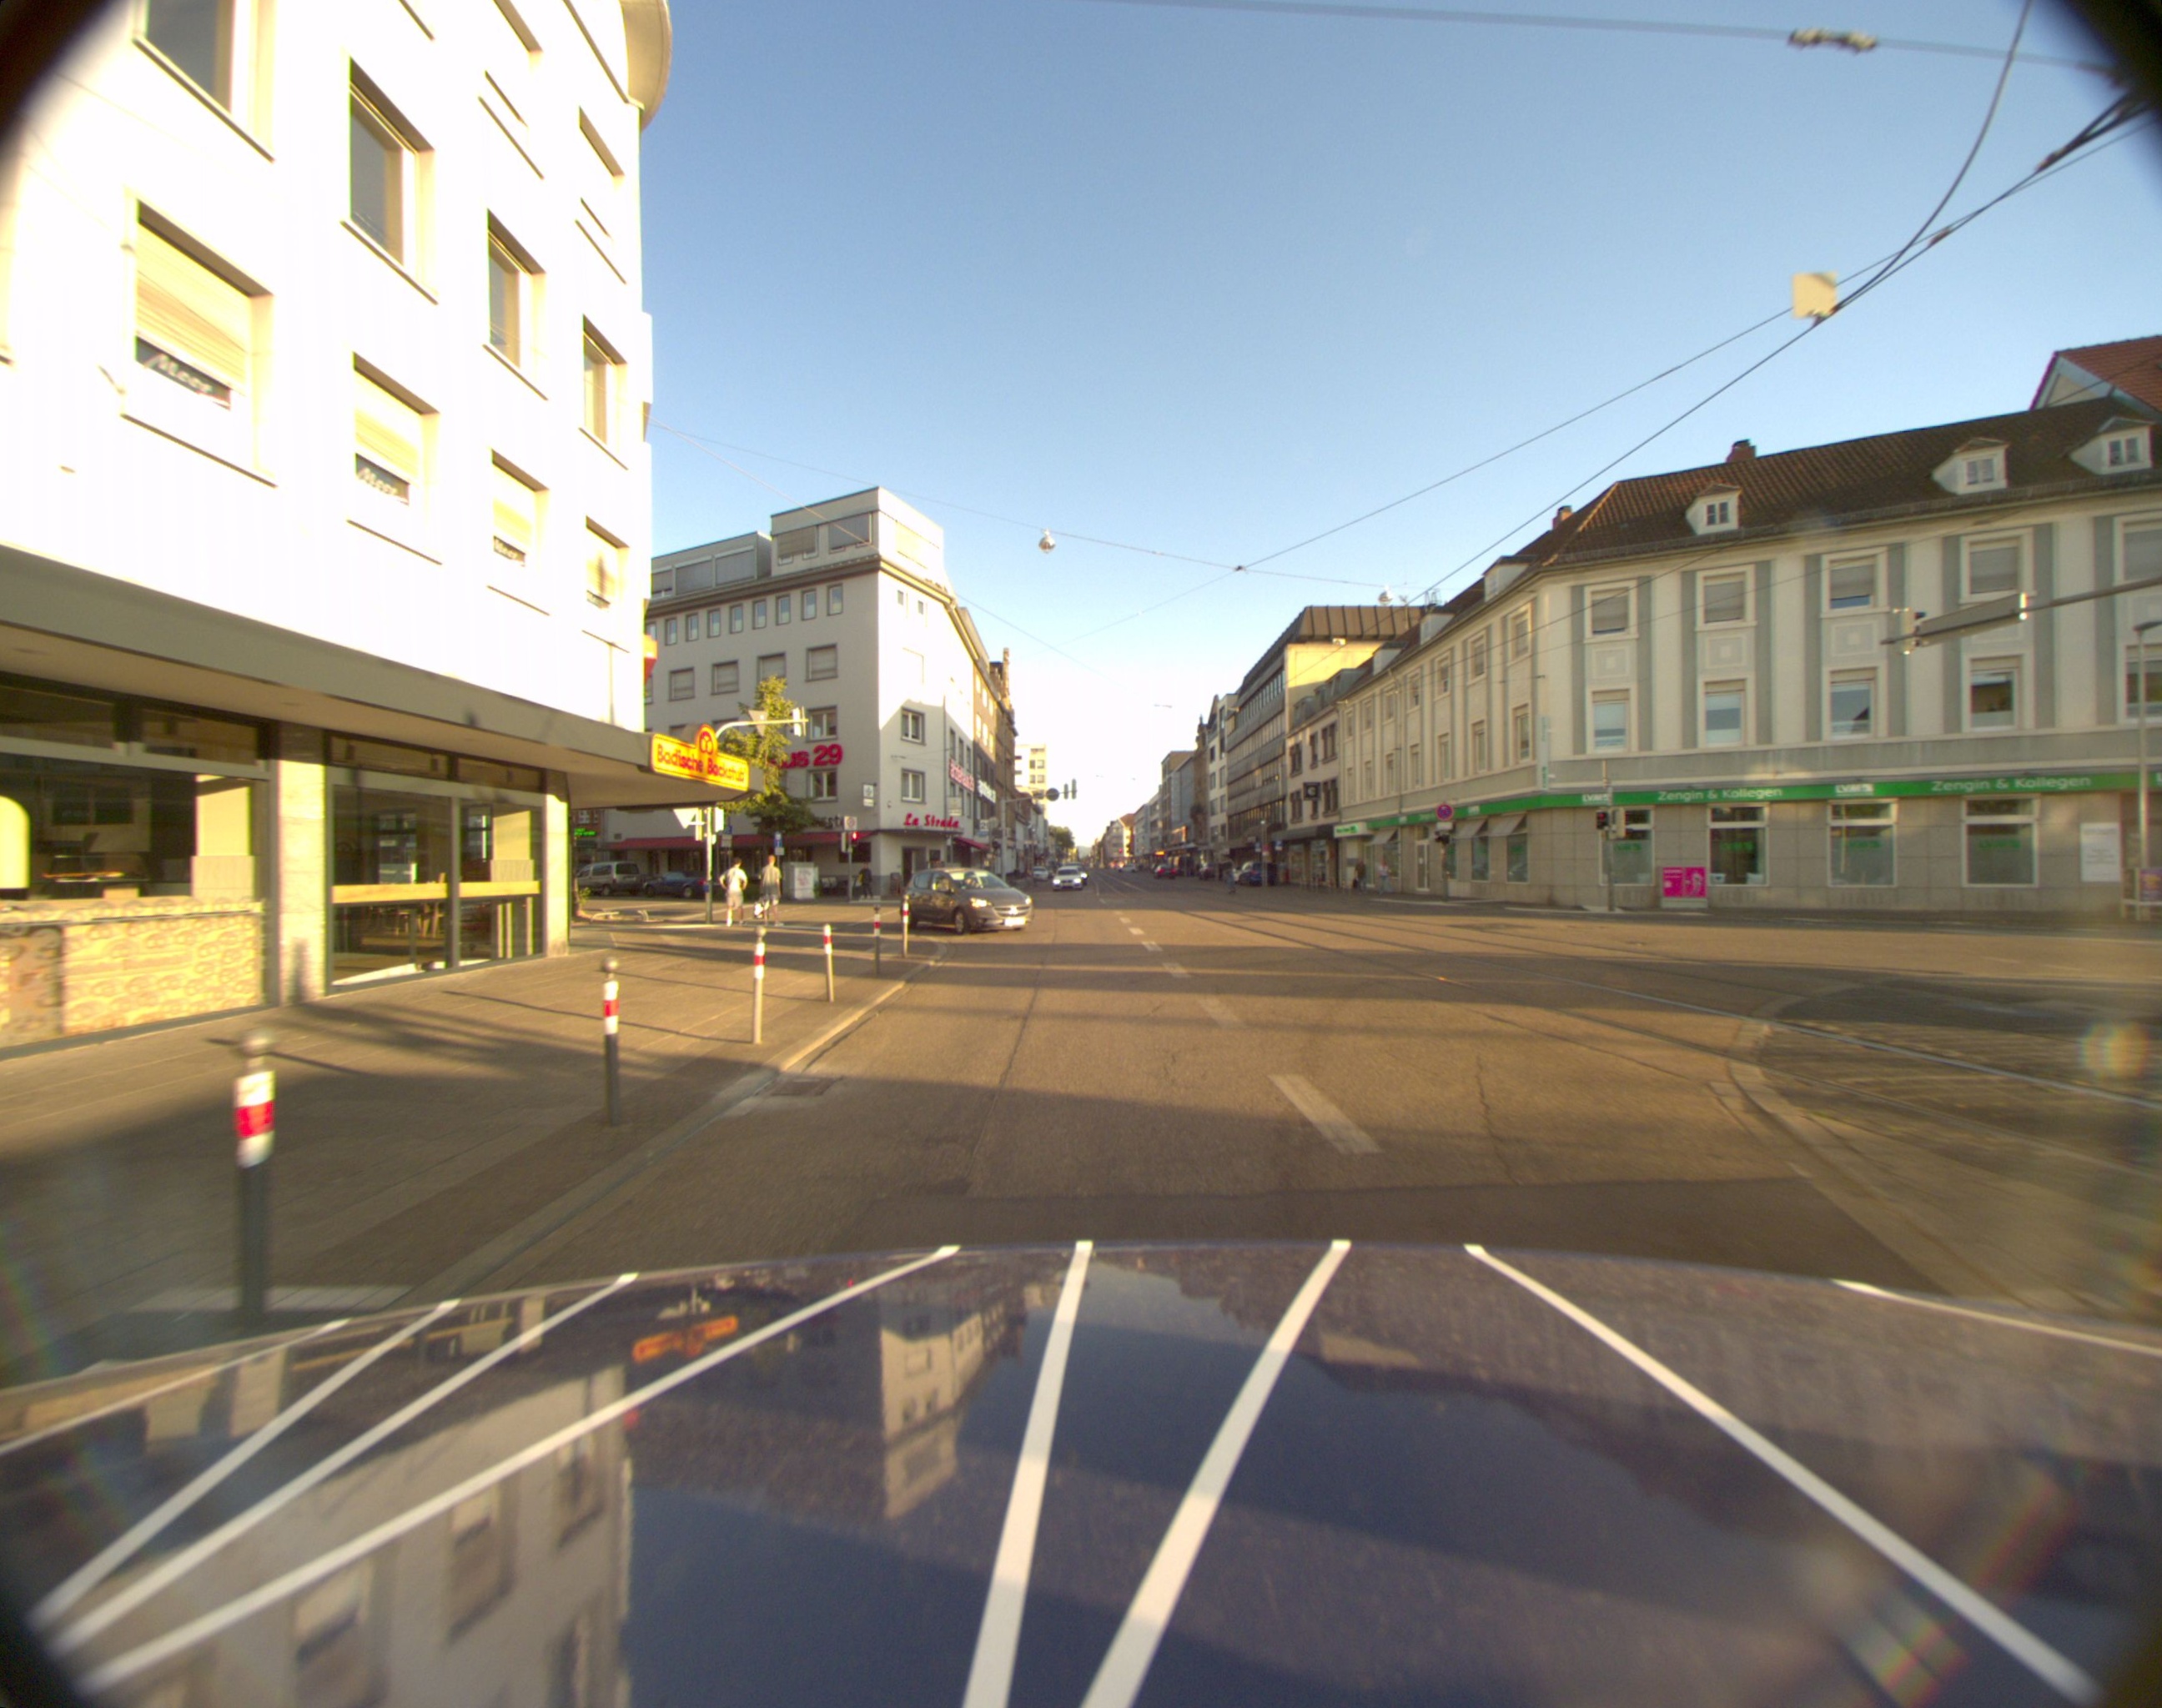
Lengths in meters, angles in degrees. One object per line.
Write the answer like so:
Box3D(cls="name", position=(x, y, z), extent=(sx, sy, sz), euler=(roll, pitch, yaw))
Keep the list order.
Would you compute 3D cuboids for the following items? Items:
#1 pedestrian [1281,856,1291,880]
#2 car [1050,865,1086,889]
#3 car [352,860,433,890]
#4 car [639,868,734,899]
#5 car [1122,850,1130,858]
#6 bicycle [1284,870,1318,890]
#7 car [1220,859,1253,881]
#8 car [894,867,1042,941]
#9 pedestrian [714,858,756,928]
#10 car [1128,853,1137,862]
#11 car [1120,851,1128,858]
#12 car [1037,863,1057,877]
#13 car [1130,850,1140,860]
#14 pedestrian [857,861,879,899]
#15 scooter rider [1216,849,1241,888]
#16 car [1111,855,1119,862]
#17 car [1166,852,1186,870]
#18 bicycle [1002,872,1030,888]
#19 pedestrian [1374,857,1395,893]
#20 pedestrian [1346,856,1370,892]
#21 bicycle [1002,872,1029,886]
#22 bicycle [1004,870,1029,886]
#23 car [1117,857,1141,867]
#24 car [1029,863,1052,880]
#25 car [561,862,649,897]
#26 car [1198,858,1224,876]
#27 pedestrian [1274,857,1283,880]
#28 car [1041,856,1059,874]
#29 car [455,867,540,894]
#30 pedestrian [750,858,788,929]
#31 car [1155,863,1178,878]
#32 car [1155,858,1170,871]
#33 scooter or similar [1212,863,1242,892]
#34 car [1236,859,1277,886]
Box3D(cls="pedestrian", position=(15.250, 1.038, 56.537), extent=(0.515, 1.724, 0.601), euler=(0, 2, 0))
Box3D(cls="car", position=(-0.753, 1.390, 46.980), extent=(1.914, 1.350, 3.747), euler=(-2, -1, 3))
Box3D(cls="car", position=(-44.291, 1.363, 48.841), extent=(4.935, 1.873, 1.978), euler=(-1, 0, 24))
Box3D(cls="car", position=(-18.920, 1.384, 36.409), extent=(4.301, 1.345, 1.657), euler=(0, 0, 23))
Box3D(cls="car", position=(12.892, -0.047, 216.734), extent=(1.999, 2.002, 3.998), euler=(0, 1, -2))
Box3D(cls="bicycle", position=(11.918, 1.395, 41.193), extent=(1.740, 1.052, 0.499), euler=(0, -1, 9))
Box3D(cls="car", position=(12.215, 1.257, 59.955), extent=(1.701, 1.613, 4.000), euler=(-1, -1, 0))
Box3D(cls="car", position=(-2.708, 1.065, 17.620), extent=(1.591, 1.445, 3.832), euler=(-1, 0, -40))
Box3D(cls="pedestrian", position=(-8.875, 0.977, 19.486), extent=(0.749, 1.763, 0.639), euler=(0, 0, 3))
Box3D(cls="car", position=(12.374, 0.895, 182.887), extent=(1.960, 2.002, 3.998), euler=(0, 1, -2))
Box3D(cls="car", position=(12.590, 0.170, 222.447), extent=(1.999, 2.002, 3.998), euler=(0, 1, -2))
Box3D(cls="car", position=(-3.888, 1.789, 87.528), extent=(2.042, 1.550, 4.386), euler=(0, 0, -1))
Box3D(cls="car", position=(12.432, 0.233, 175.573), extent=(1.975, 2.181, 4.132), euler=(0, 1, 0))
Box3D(cls="pedestrian", position=(-9.401, 1.151, 33.561), extent=(0.799, 1.646, 0.586), euler=(0, 0, -3))
Box3D(cls="scooter rider", position=(7.076, 0.699, 36.382), extent=(0.811, 1.796, 0.790), euler=(-1, 1, 44))
Box3D(cls="car", position=(10.124, 1.373, 227.854), extent=(1.999, 2.002, 3.998), euler=(0, 1, -2))
Box3D(cls="car", position=(11.737, 0.859, 94.097), extent=(1.998, 2.002, 3.999), euler=(0, 1, 0))
Box3D(cls="bicycle", position=(-4.290, 1.700, 49.923), extent=(1.829, 1.025, 0.443), euler=(1, 0, -6))
Box3D(cls="pedestrian", position=(14.332, 0.990, 35.867), extent=(0.826, 1.630, 0.815), euler=(-2, -1, 16))
Box3D(cls="pedestrian", position=(13.581, 0.972, 37.323), extent=(0.827, 1.718, 0.813), euler=(-2, 0, 0))
Box3D(cls="bicycle", position=(-4.430, 1.688, 51.454), extent=(1.762, 0.944, 0.443), euler=(1, 2, -6))
Box3D(cls="bicycle", position=(-4.485, 1.654, 52.726), extent=(1.762, 1.065, 0.443), euler=(1, 2, -6))
Box3D(cls="car", position=(8.316, 1.408, 132.087), extent=(3.827, 1.738, 1.810), euler=(0, 2, 24))
Box3D(cls="car", position=(-4.016, 1.729, 75.738), extent=(2.042, 1.550, 4.386), euler=(0, 0, -1))
Box3D(cls="car", position=(-24.378, 1.268, 38.925), extent=(3.991, 1.654, 1.722), euler=(0, 2, 21))
Box3D(cls="car", position=(12.245, 1.227, 71.627), extent=(1.819, 1.548, 3.999), euler=(0, 1, 0))
Box3D(cls="pedestrian", position=(14.699, 1.068, 56.535), extent=(0.509, 1.675, 0.583), euler=(-1, 2, -1))
Box3D(cls="car", position=(-3.788, 1.354, 92.760), extent=(2.042, 2.105, 4.386), euler=(0, 0, -1))
Box3D(cls="car", position=(-32.842, 1.459, 42.775), extent=(4.407, 1.385, 1.808), euler=(0, 0, 23))
Box3D(cls="pedestrian", position=(-7.931, 0.983, 19.322), extent=(0.749, 1.763, 0.586), euler=(0, 0, -7))
Box3D(cls="car", position=(8.920, 1.737, 79.652), extent=(1.895, 1.471, 4.544), euler=(1, -1, 1))
Box3D(cls="car", position=(12.658, 1.619, 118.210), extent=(1.833, 1.906, 3.999), euler=(0, 1, 0))
Box3D(cls="scooter or similar", position=(6.982, 1.119, 36.289), extent=(1.673, 1.342, 0.544), euler=(0, 0, -45))
Box3D(cls="car", position=(12.398, 1.275, 53.928), extent=(1.915, 1.785, 4.129), euler=(-2, 0, 0))
